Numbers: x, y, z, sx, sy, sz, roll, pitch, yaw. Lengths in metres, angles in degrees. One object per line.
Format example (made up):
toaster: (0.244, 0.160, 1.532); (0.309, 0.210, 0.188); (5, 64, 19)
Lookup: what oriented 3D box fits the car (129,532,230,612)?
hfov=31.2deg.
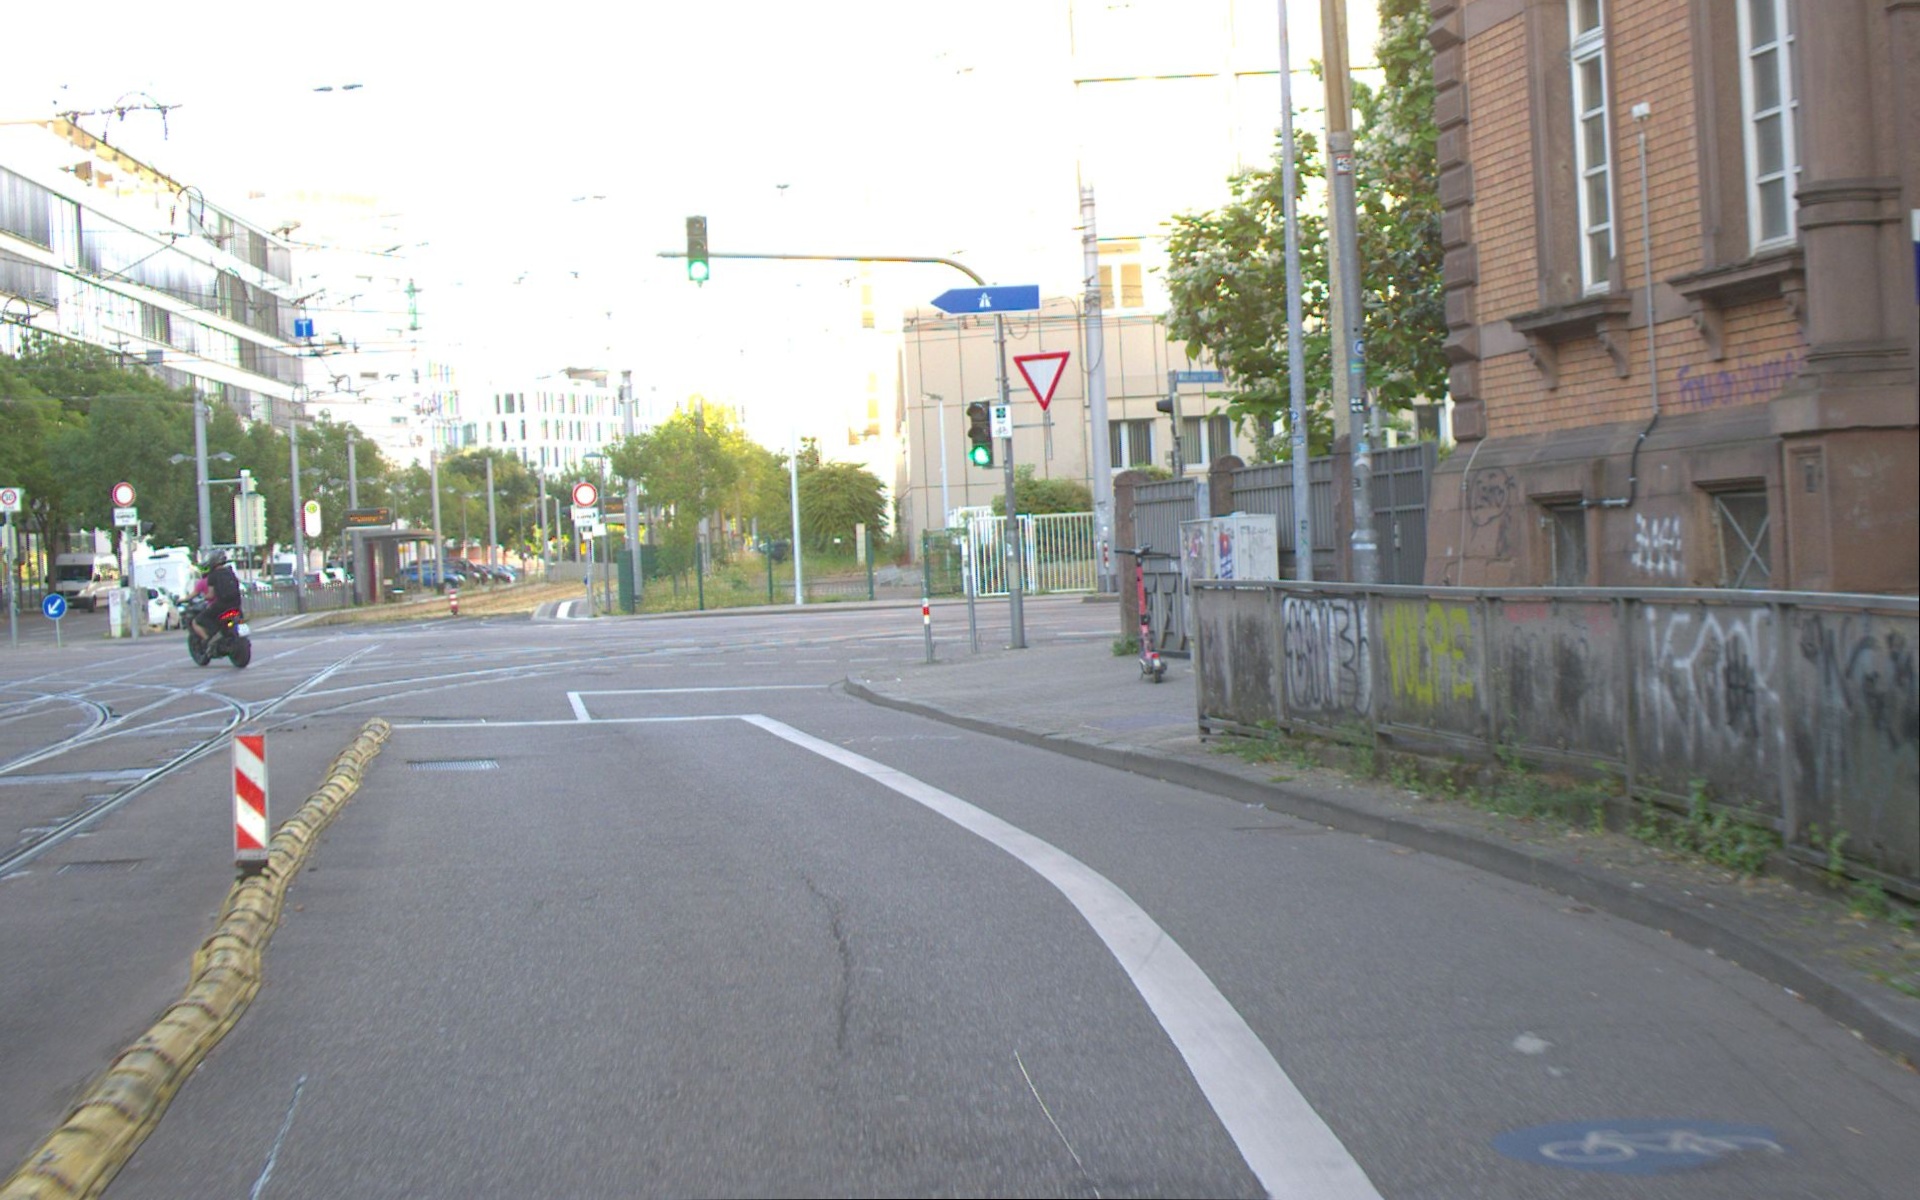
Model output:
car: (-25.661, -0.943, 113.246); (2.460, 2.474, 5.809); (-3, 1, -6)

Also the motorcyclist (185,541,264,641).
motorcyclist: (-11.183, -0.134, 52.254); (0.828, 1.468, 1.207); (-3, 1, -26)

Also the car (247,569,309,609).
car: (-26.294, -0.433, 132.684); (1.682, 1.434, 4.126); (-3, 1, -2)

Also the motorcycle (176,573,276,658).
motorcycle: (-11.185, 0.232, 52.323); (0.828, 1.235, 2.491); (-3, 1, -26)

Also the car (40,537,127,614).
car: (-37.898, -1.094, 148.750); (2.201, 3.141, 6.143); (-3, 1, -2)

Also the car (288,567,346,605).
car: (-26.374, -0.576, 141.083); (1.682, 1.434, 4.126); (-3, 1, -2)

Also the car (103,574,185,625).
car: (-25.499, -0.039, 107.513); (1.682, 1.434, 4.126); (-3, 1, -2)

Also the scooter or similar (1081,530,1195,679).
scooter or similar: (1.595, 0.029, 31.031); (0.641, 1.261, 1.583); (-4, 1, -8)
